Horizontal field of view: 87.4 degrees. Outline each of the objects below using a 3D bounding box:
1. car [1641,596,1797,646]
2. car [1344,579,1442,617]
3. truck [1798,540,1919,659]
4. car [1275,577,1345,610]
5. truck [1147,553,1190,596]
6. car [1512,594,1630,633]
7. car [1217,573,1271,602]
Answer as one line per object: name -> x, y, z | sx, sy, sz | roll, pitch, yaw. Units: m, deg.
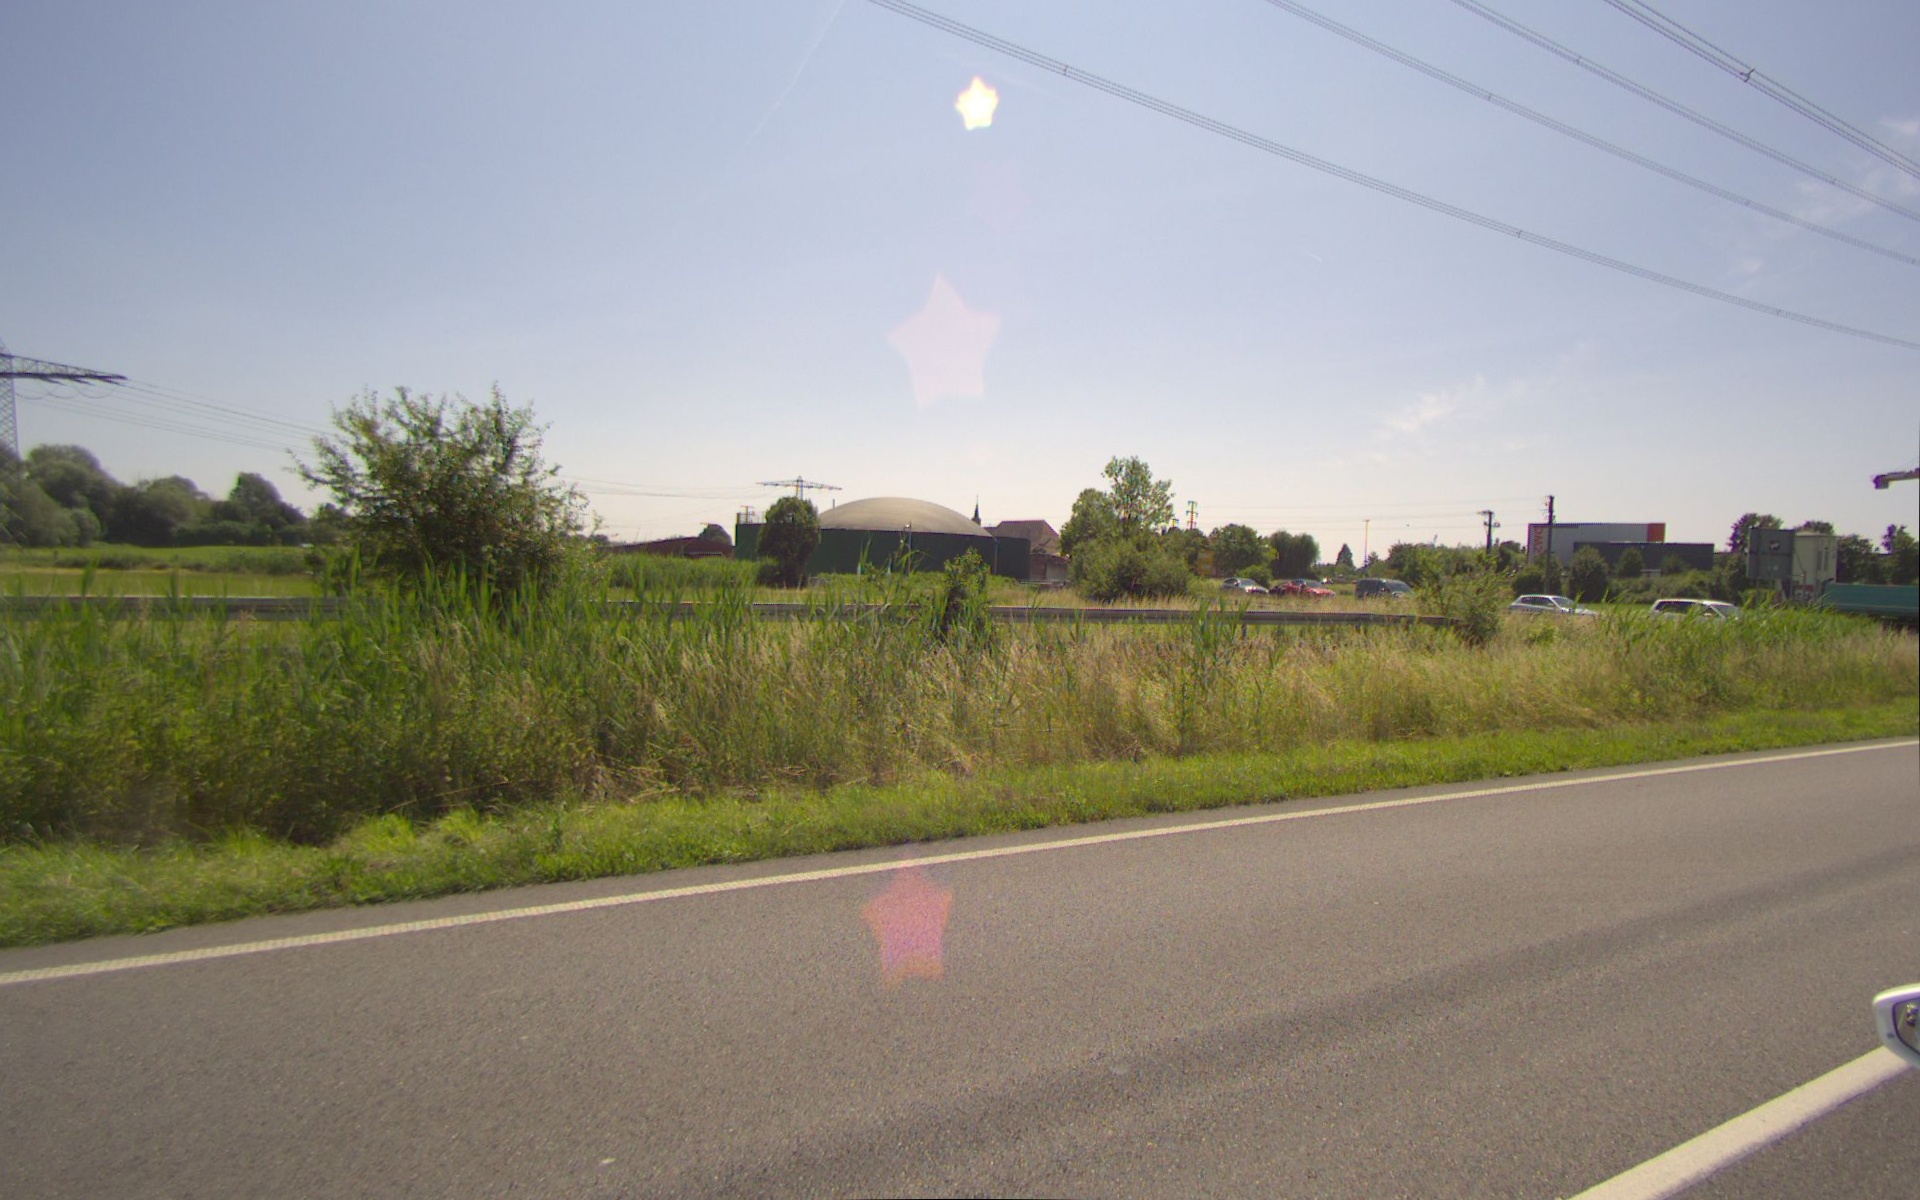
car -> 29.115, 0.759, 38.722 | 1.935, 1.634, 4.542 | 2, 2, -14
car -> 23.521, -0.140, 54.819 | 2.056, 1.893, 4.929 | 0, 2, -20
truck -> 32.232, 0.058, 32.106 | 2.465, 3.785, 7.876 | 1, 3, -26
car -> 21.612, -0.445, 62.191 | 1.884, 1.874, 4.469 | 2, 2, -15
truck -> 24.783, -2.918, 118.632 | 3.616, 4.708, 13.242 | 2, 1, 17
car -> 26.992, 0.554, 44.550 | 1.691, 1.490, 4.428 | 2, 1, -17
car -> 19.774, -0.864, 70.048 | 1.633, 1.927, 3.984 | 1, 1, -18
